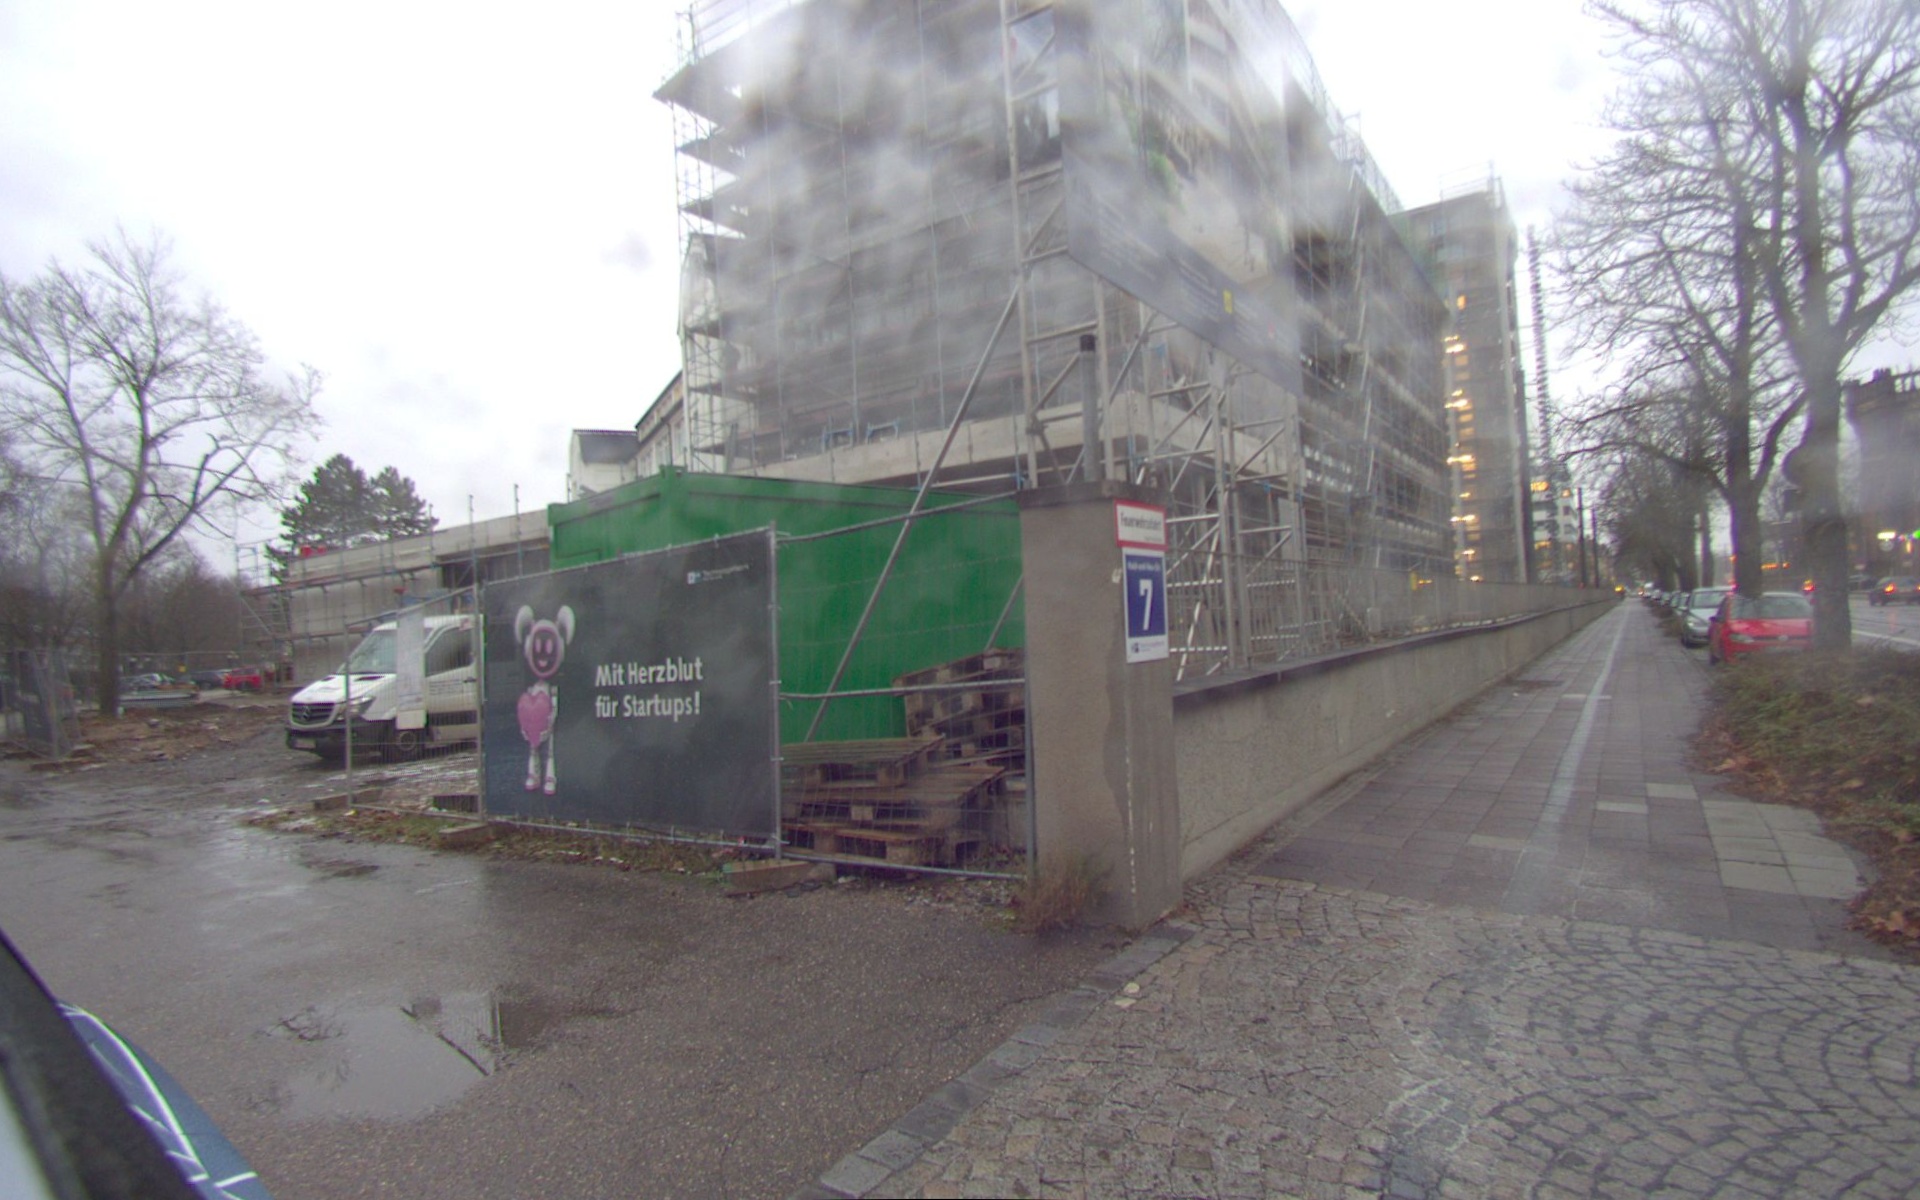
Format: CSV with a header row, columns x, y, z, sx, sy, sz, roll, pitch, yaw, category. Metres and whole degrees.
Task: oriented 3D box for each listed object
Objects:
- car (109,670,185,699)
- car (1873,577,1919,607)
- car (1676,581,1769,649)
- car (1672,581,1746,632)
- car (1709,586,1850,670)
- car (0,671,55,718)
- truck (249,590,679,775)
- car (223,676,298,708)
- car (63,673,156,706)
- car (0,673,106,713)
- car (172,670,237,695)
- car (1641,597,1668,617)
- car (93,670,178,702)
x,y,z,sx,sy,sz,roll,pitch,yaw,category
-57.915,6.001,72.156,3.931,1.810,1.808,-2,-2,-25,car
48.639,-0.413,52.111,1.762,1.422,3.953,-4,-2,34,car
19.868,0.403,26.483,1.751,1.596,3.691,-4,-3,36,car
25.954,0.227,35.126,1.864,1.606,3.951,-4,-3,36,car
15.235,0.509,18.990,1.751,1.398,3.691,-4,-3,36,car
-44.845,4.432,46.901,3.931,2.007,2.006,-2,-2,-25,car
-8.355,1.212,18.179,2.121,2.607,7.017,-4,-1,27,truck
-38.522,5.051,55.811,3.253,1.535,1.709,-1,-2,-30,car
-51.514,5.397,61.369,3.931,1.674,2.006,-2,-2,-25,car
-47.870,4.886,53.393,3.931,1.810,1.808,-2,-2,-25,car
-61.794,6.718,82.822,3.931,1.810,1.808,-2,-2,-25,car
59.687,0.626,86.996,1.751,1.596,3.691,-4,-3,36,car
-53.498,5.576,65.750,3.931,1.810,1.808,-2,-2,-25,car
